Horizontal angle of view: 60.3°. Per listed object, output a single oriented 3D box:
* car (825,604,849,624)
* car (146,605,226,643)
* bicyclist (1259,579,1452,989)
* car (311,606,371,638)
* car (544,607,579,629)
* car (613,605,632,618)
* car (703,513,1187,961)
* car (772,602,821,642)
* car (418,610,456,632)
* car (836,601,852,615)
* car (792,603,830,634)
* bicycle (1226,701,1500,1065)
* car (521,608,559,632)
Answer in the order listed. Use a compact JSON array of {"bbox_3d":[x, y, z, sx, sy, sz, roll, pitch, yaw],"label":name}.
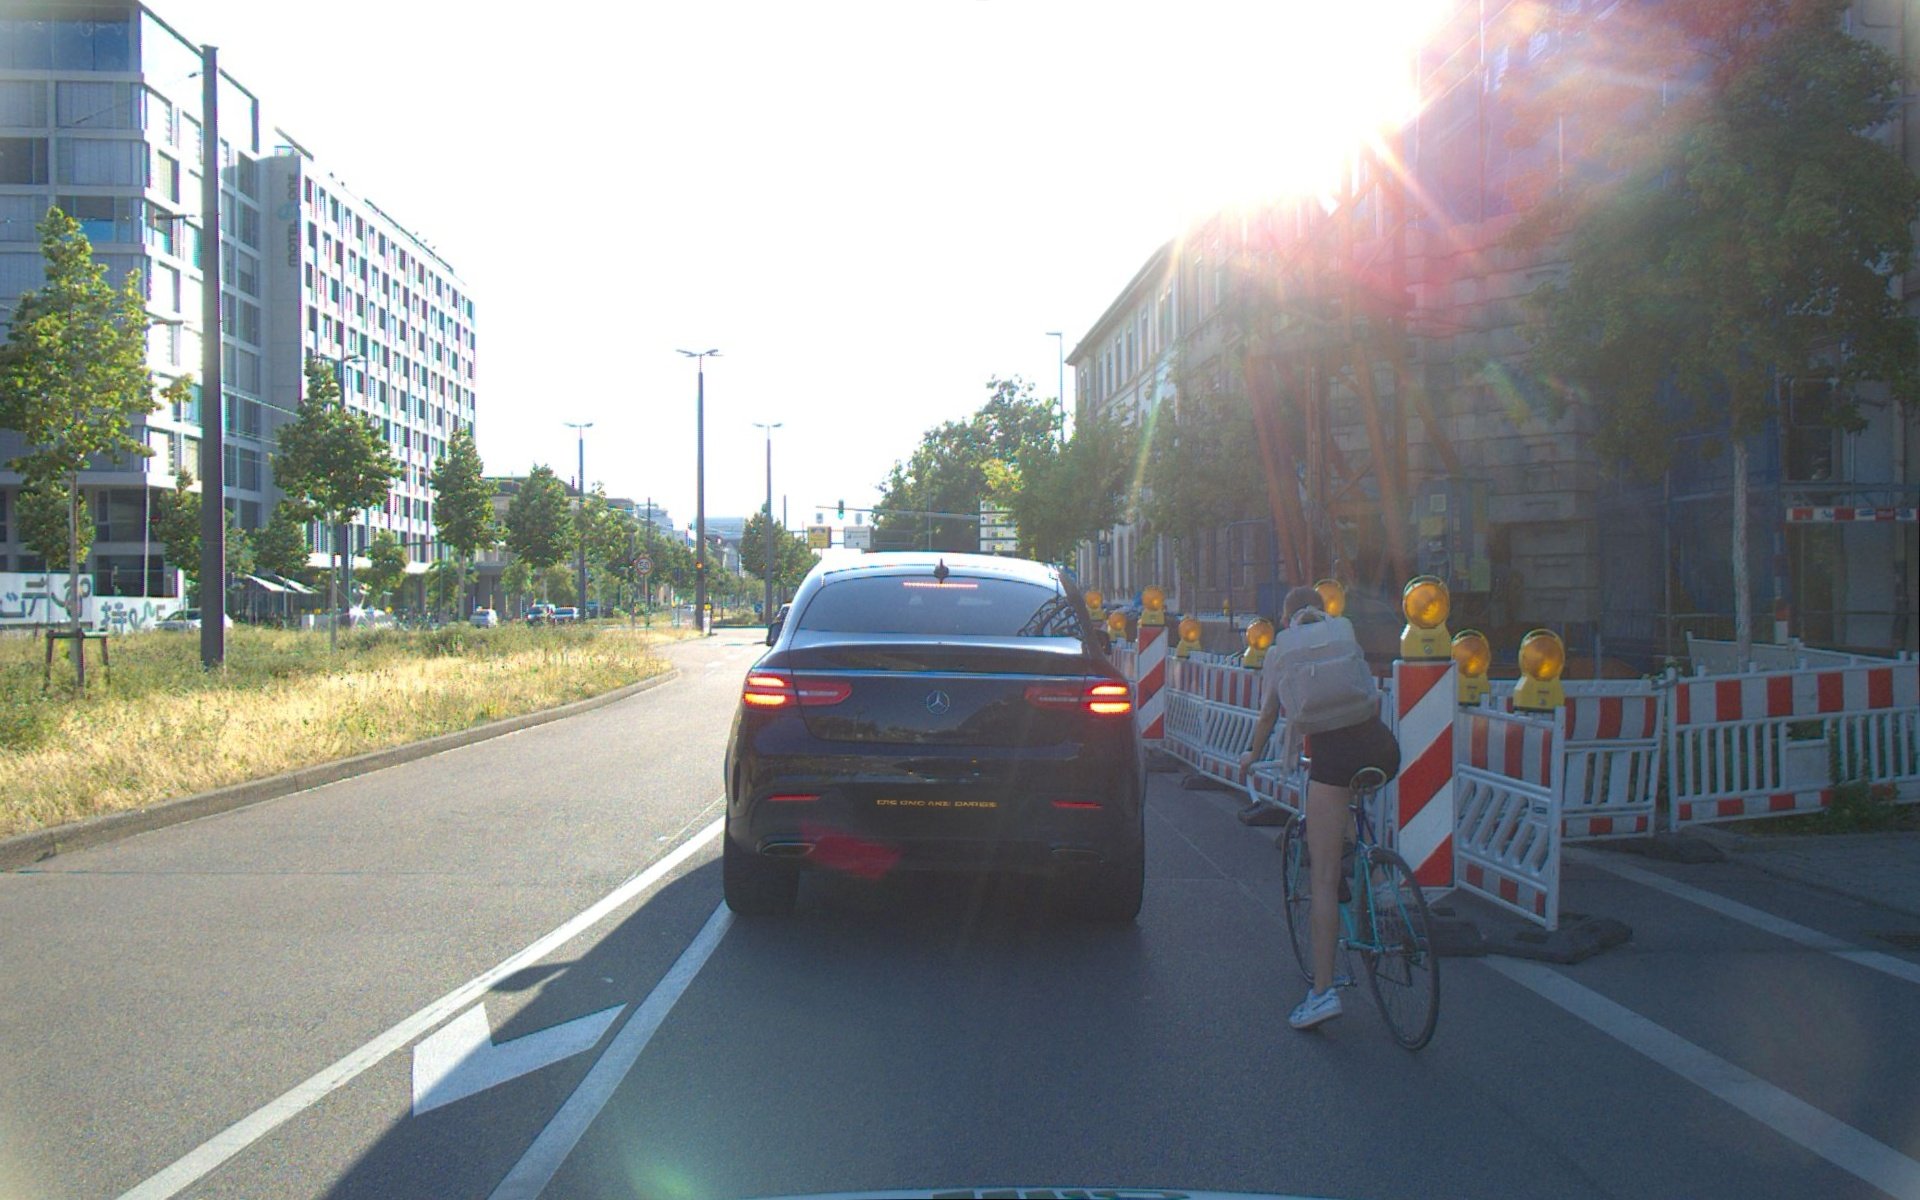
[{"bbox_3d":[-8.946,1.010,120.543,1.674,1.467,3.580,1,0,-3],"label":"car"},{"bbox_3d":[-31.644,0.968,67.721,1.674,1.467,3.580,1,0,-3],"label":"car"},{"bbox_3d":[1.431,0.643,6.056,0.512,1.420,0.614,1,-1,-4],"label":"bicyclist"},{"bbox_3d":[-30.061,1.049,80.425,1.674,1.467,3.580,1,0,-3],"label":"car"},{"bbox_3d":[-27.480,1.235,114.242,1.674,1.467,3.580,1,0,-3],"label":"car"},{"bbox_3d":[-38.977,1.356,191.143,1.674,1.467,3.580,1,0,-3],"label":"car"},{"bbox_3d":[-0.086,0.570,8.774,1.953,1.803,3.999,1,0,-1],"label":"car"},{"bbox_3d":[-6.267,0.820,63.783,1.674,1.467,3.580,1,0,-3],"label":"car"},{"bbox_3d":[-36.965,1.471,116.985,1.674,1.467,3.580,1,0,-3],"label":"car"},{"bbox_3d":[-12.925,0.914,183.931,1.674,1.467,3.580,1,0,-3],"label":"car"},{"bbox_3d":[-7.228,0.881,80.631,1.674,1.467,3.580,1,0,-3],"label":"car"},{"bbox_3d":[1.439,0.965,6.190,0.502,1.070,1.724,1,0,-3],"label":"bicycle"},{"bbox_3d":[-30.965,1.497,121.941,1.753,1.713,3.639,1,0,2],"label":"car"}]
